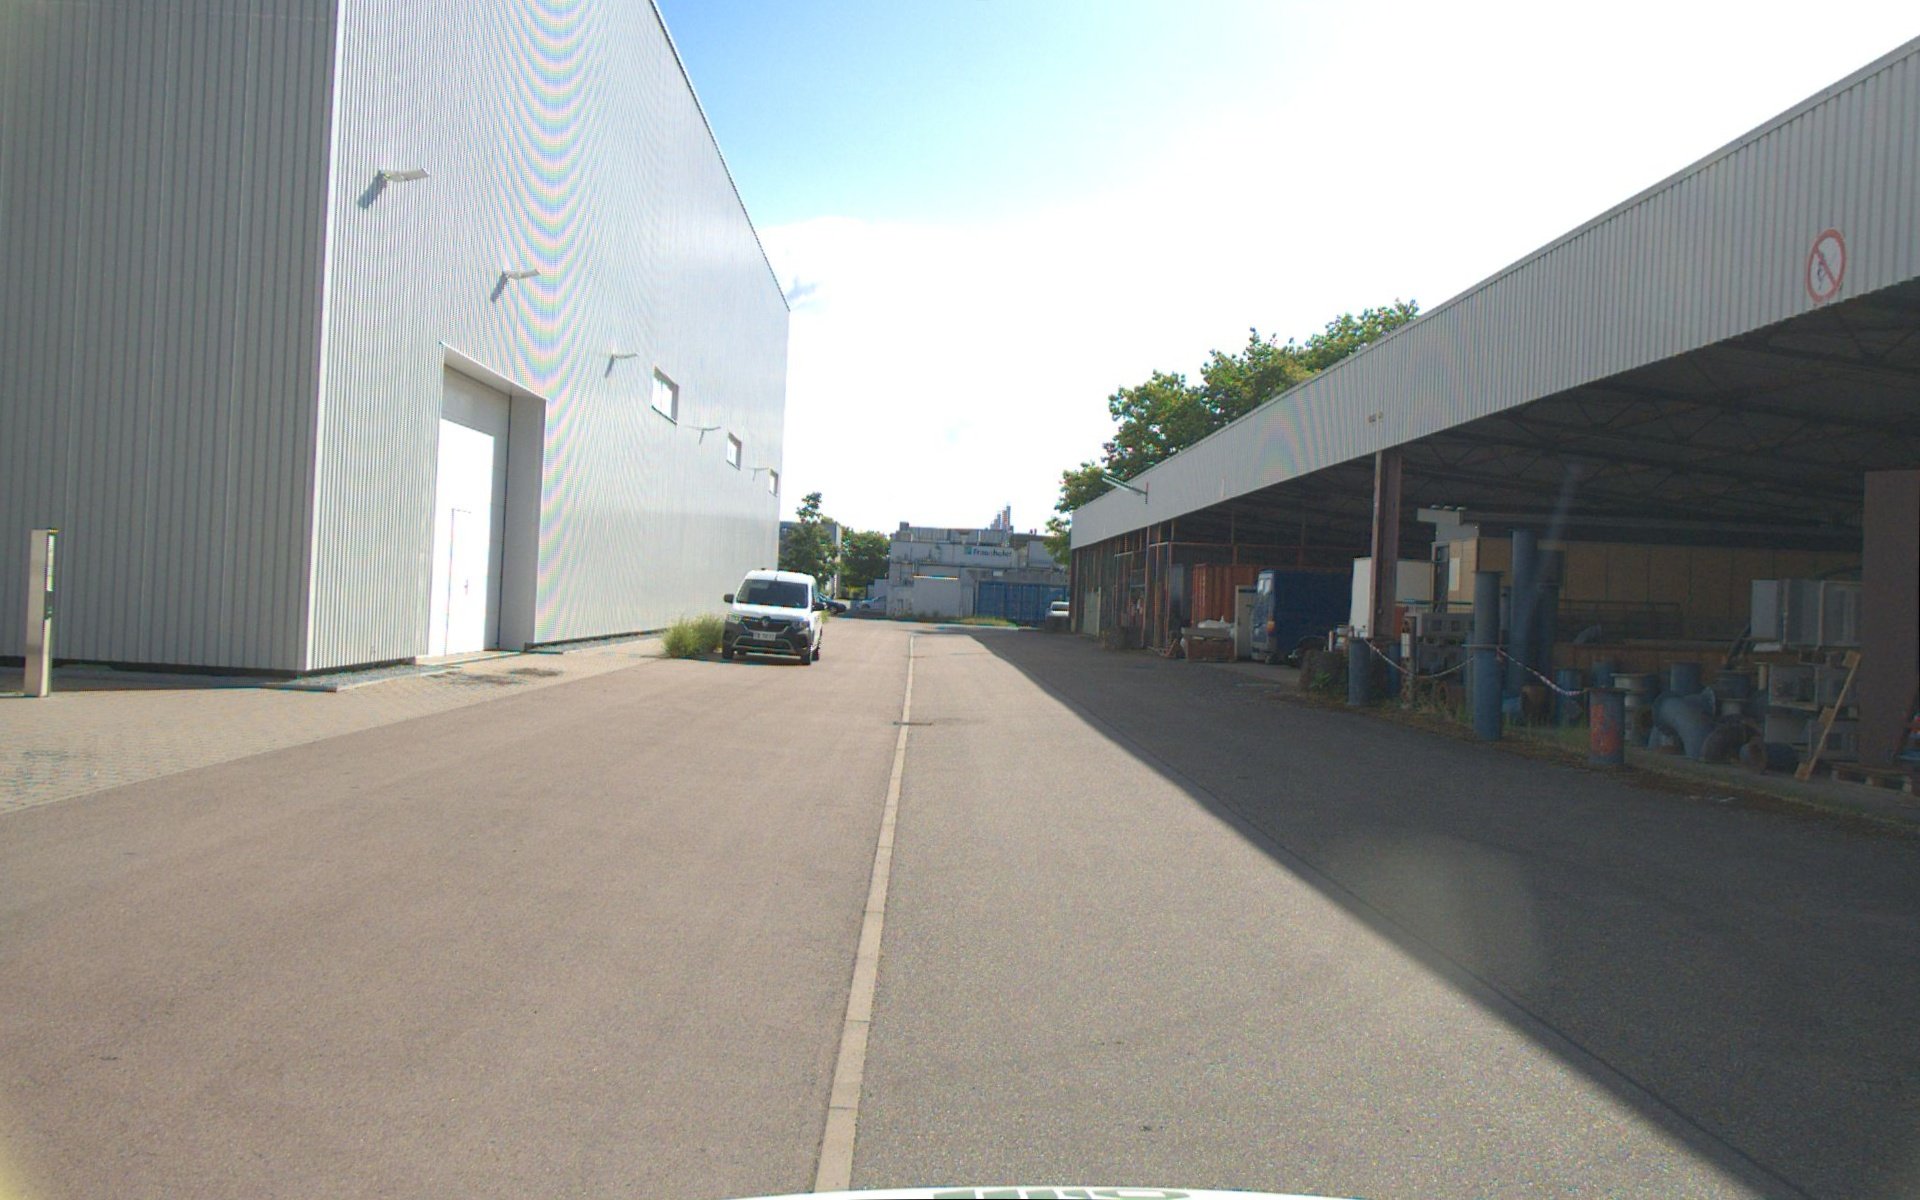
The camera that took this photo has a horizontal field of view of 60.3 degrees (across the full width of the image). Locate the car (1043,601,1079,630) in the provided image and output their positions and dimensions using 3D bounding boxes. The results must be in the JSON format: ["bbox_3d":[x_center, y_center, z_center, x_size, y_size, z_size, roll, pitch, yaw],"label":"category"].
[{"bbox_3d":[6.315,0.943,104.090,1.939,1.630,4.377,1,1,0],"label":"car"}]

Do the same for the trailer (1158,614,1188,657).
[{"bbox_3d":[5.851,0.966,45.493,0.541,1.138,1.546,1,-1,-3],"label":"trailer"}]

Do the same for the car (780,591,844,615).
[{"bbox_3d":[-10.345,0.220,116.020,4.358,1.558,1.823,1,-1,-2],"label":"car"}]

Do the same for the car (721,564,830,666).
[{"bbox_3d":[-3.743,0.306,34.262,1.748,1.847,4.599,4,-1,-2],"label":"car"}]

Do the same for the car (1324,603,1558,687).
[{"bbox_3d":[9.728,0.900,33.654,4.165,1.497,1.868,2,0,-5],"label":"car"}]

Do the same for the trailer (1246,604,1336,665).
[{"bbox_3d":[8.476,0.857,42.468,1.996,1.492,1.739,1,0,2],"label":"trailer"}]

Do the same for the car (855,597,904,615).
[{"bbox_3d":[-6.977,0.535,144.027,4.216,1.483,1.823,1,-1,-2],"label":"car"}]

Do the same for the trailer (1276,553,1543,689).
[{"bbox_3d":[8.364,0.388,31.056,4.424,2.383,2.047,1,-1,-1],"label":"trailer"}]

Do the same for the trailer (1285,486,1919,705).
[{"bbox_3d":[10.963,-0.061,28.643,10.060,3.401,2.800,1,0,-1],"label":"trailer"}]

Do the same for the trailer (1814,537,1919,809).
[{"bbox_3d":[9.312,0.591,12.753,4.332,2.025,2.163,1,-1,0],"label":"trailer"}]

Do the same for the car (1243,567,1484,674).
[{"bbox_3d":[9.659,0.490,39.894,5.225,2.321,2.151,2,-1,-3],"label":"car"}]
